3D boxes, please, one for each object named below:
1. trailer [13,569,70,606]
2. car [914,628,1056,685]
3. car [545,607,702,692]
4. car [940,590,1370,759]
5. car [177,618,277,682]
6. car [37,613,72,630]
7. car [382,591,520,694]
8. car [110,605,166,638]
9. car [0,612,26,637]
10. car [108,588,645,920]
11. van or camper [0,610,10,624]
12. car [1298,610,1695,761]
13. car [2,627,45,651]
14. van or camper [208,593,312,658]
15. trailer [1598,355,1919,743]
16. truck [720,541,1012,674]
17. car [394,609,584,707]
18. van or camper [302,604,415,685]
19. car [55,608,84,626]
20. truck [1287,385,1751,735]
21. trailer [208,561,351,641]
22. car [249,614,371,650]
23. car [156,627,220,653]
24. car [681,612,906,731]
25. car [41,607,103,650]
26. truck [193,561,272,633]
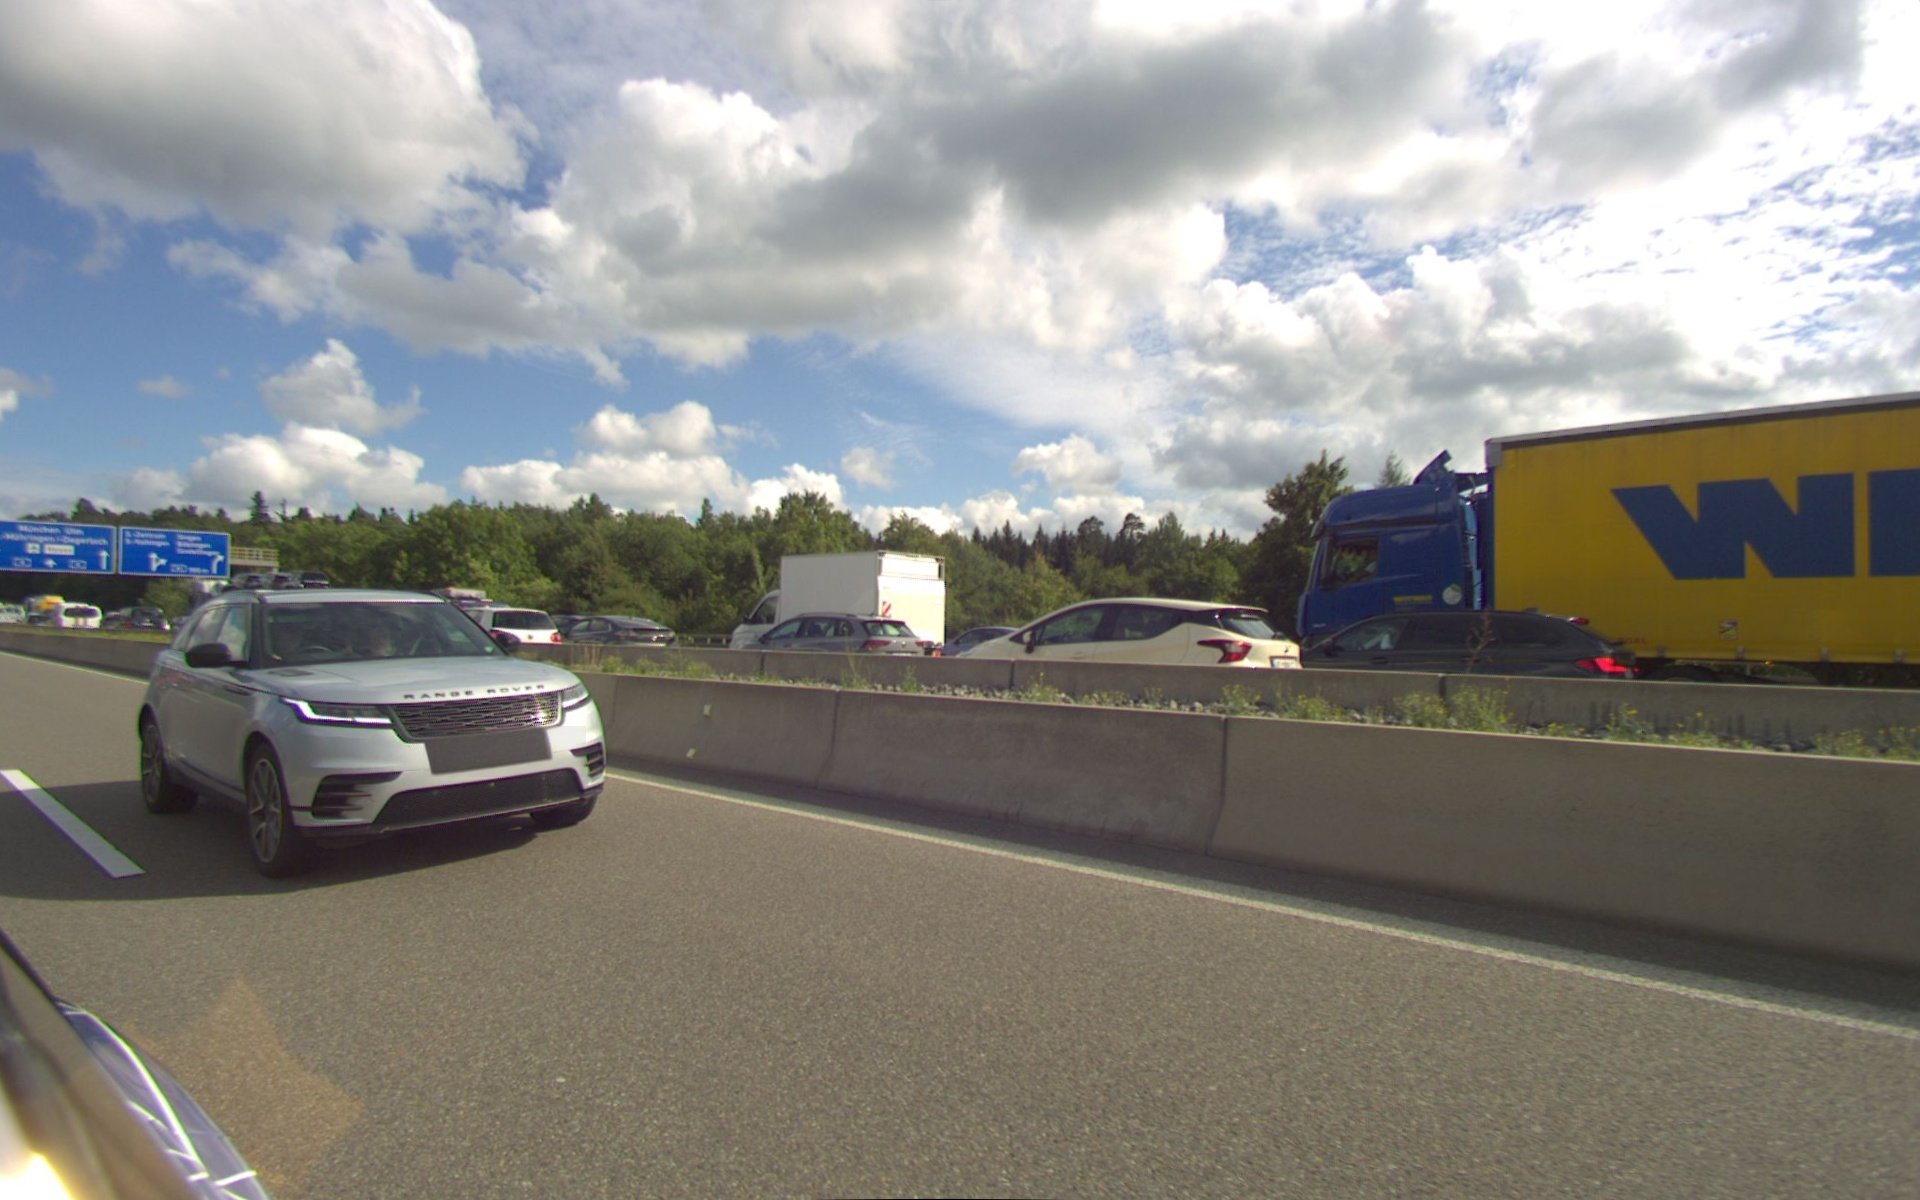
[{"bbox_3d":[-103.920,-1.342,114.360,13.255,3.857,3.376,-1,0,42],"label":"trailer"},{"bbox_3d":[0.722,1.687,31.163,4.204,1.506,1.821,0,1,41],"label":"car"},{"bbox_3d":[-8.268,1.122,24.702,4.293,1.829,1.669,0,1,41],"label":"car"},{"bbox_3d":[1.867,0.645,10.390,3.997,1.387,1.739,-1,0,41],"label":"car"},{"bbox_3d":[-25.996,1.693,35.833,4.409,2.029,1.972,0,-1,42],"label":"car"},{"bbox_3d":[-80.596,1.913,90.050,5.374,1.460,1.769,-1,0,42],"label":"car"},{"bbox_3d":[-16.212,1.270,32.098,5.400,2.985,1.973,-1,0,41],"label":"car"},{"bbox_3d":[-49.699,1.280,61.157,4.696,1.890,1.891,-1,-1,42],"label":"car"},{"bbox_3d":[-71.916,1.848,76.114,4.177,1.815,2.065,-1,0,42],"label":"car"},{"bbox_3d":[-4.500,0.779,7.342,5.104,1.619,1.880,-1,-1,42],"label":"car"},{"bbox_3d":[-138.950,2.448,146.114,4.688,2.026,2.258,-1,0,43],"label":"van or camper"},{"bbox_3d":[6.143,0.854,11.810,3.834,1.411,1.715,0,1,41],"label":"car"},{"bbox_3d":[-58.561,2.411,63.262,3.999,1.383,1.677,-1,-1,42],"label":"car"},{"bbox_3d":[-31.525,1.050,45.493,6.630,2.731,2.366,0,1,42],"label":"van or camper"},{"bbox_3d":[14.295,-0.548,9.672,13.652,4.266,2.742,0,1,41],"label":"trailer"},{"bbox_3d":[-2.575,0.202,24.989,7.945,2.822,2.304,-1,0,41],"label":"truck"},{"bbox_3d":[-9.799,1.110,20.930,4.293,1.756,1.973,-1,1,41],"label":"car"},{"bbox_3d":[-22.613,1.565,37.940,5.749,2.731,2.023,0,1,42],"label":"van or camper"},{"bbox_3d":[-92.389,1.735,105.026,3.949,1.890,1.781,-1,-1,42],"label":"car"},{"bbox_3d":[8.087,-0.497,14.969,5.614,4.179,2.708,0,0,41],"label":"truck"},{"bbox_3d":[-38.835,-0.017,57.324,15.999,4.004,2.801,0,1,42],"label":"trailer"},{"bbox_3d":[-17.920,0.862,27.824,4.603,0.864,1.618,-1,1,41],"label":"car"},{"bbox_3d":[-40.992,2.092,53.715,4.564,1.240,1.813,0,0,41],"label":"car"},{"bbox_3d":[-3.433,1.310,20.365,4.654,2.029,1.973,0,1,41],"label":"car"},{"bbox_3d":[-48.430,1.500,55.156,5.277,2.115,1.972,0,1,42],"label":"car"},{"bbox_3d":[-45.509,-0.174,63.230,5.711,4.266,2.823,-1,0,42],"label":"truck"}]
